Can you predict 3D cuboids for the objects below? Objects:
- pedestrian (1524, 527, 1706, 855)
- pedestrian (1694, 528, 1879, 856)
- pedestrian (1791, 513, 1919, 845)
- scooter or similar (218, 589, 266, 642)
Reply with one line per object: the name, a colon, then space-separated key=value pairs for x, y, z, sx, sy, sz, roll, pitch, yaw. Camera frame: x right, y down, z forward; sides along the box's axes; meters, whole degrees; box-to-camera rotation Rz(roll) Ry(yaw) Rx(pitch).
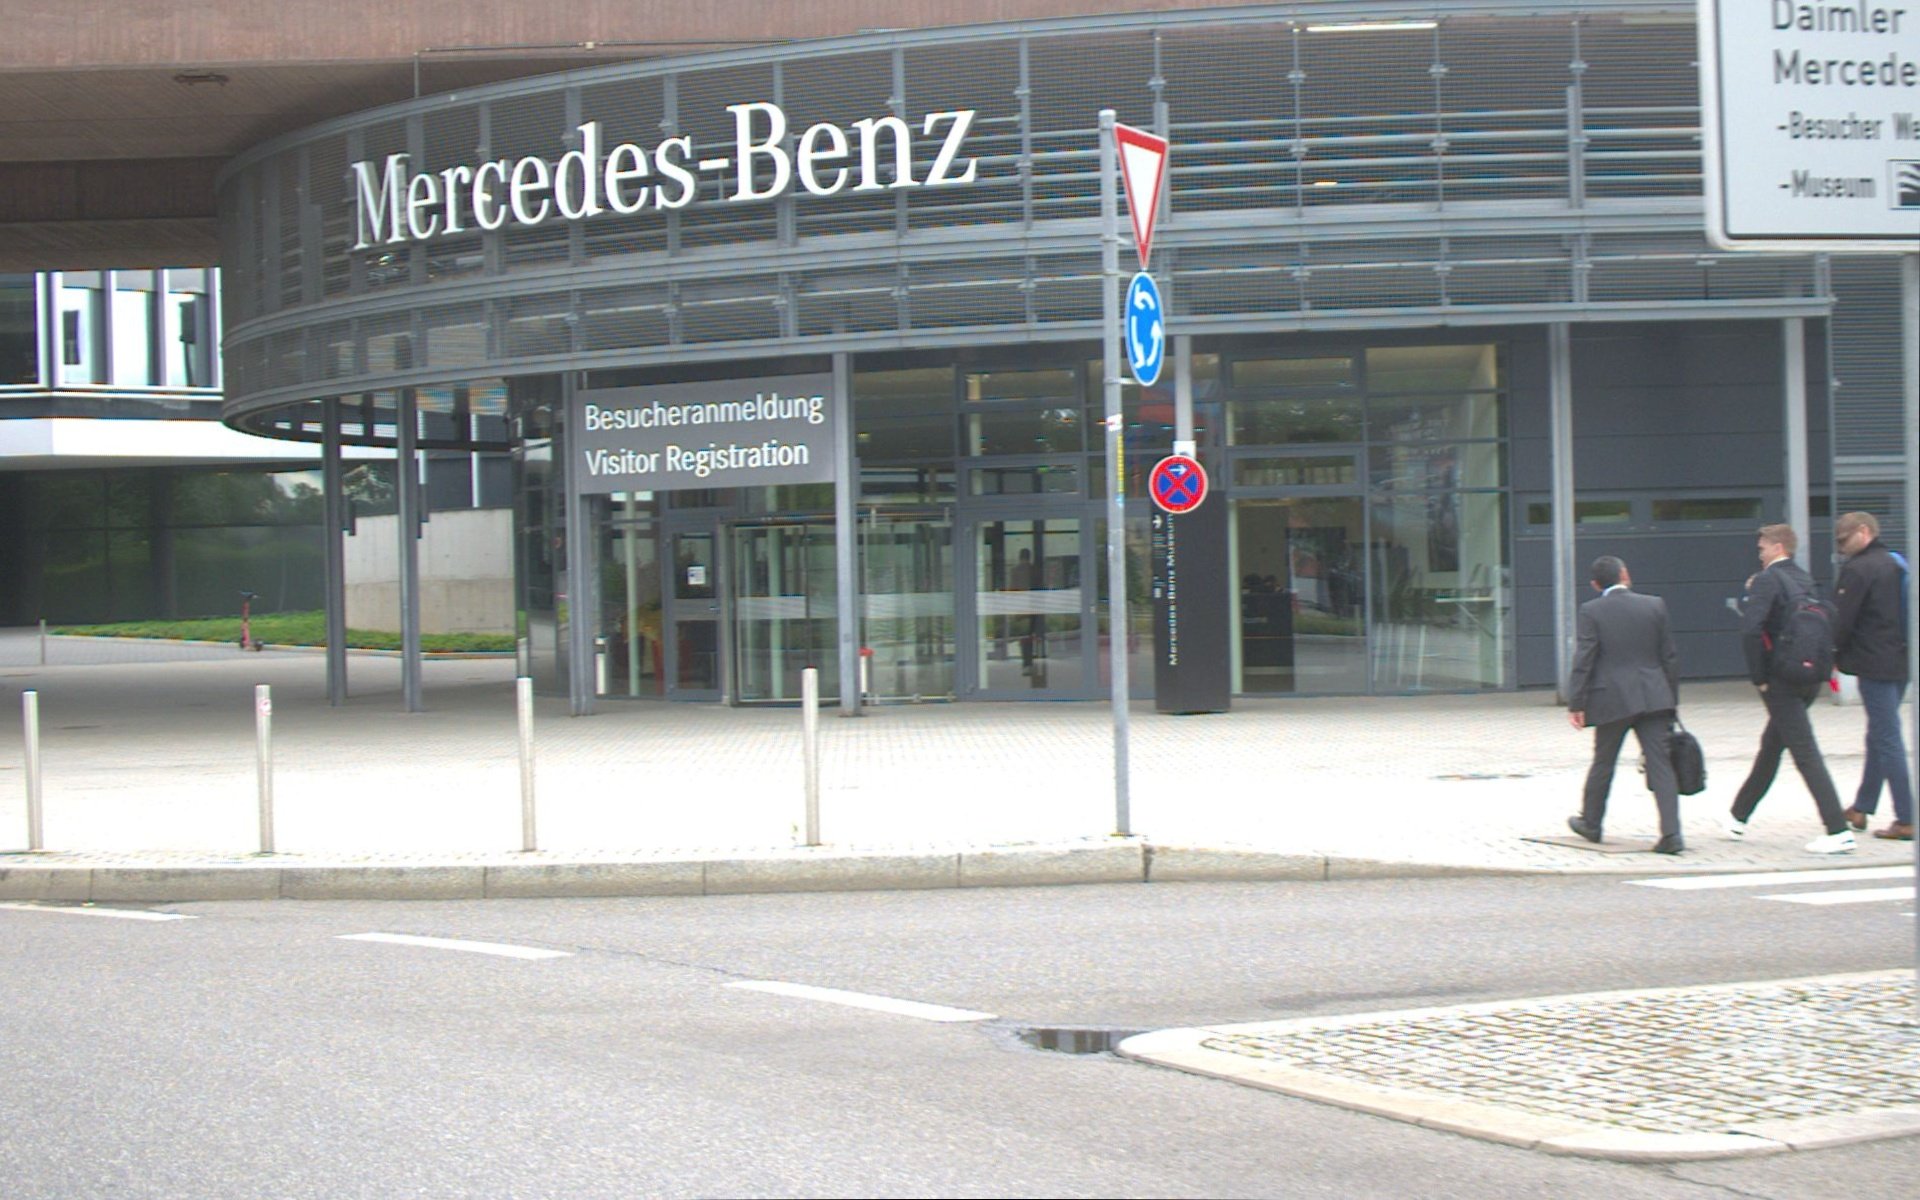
pedestrian: x=3.460 y=0.466 z=18.219 sx=0.863 sy=1.699 sz=0.772 roll=0 pitch=1 yaw=4
pedestrian: x=4.367 y=0.469 z=18.200 sx=0.784 sy=1.699 sz=0.773 roll=0 pitch=1 yaw=-1
pedestrian: x=5.173 y=0.417 z=19.019 sx=0.862 sy=1.792 sz=0.783 roll=0 pitch=1 yaw=-12
scooter or similar: x=-15.337 y=0.328 z=73.389 sx=0.698 sy=1.101 sz=1.502 roll=-1 pitch=1 yaw=-24
